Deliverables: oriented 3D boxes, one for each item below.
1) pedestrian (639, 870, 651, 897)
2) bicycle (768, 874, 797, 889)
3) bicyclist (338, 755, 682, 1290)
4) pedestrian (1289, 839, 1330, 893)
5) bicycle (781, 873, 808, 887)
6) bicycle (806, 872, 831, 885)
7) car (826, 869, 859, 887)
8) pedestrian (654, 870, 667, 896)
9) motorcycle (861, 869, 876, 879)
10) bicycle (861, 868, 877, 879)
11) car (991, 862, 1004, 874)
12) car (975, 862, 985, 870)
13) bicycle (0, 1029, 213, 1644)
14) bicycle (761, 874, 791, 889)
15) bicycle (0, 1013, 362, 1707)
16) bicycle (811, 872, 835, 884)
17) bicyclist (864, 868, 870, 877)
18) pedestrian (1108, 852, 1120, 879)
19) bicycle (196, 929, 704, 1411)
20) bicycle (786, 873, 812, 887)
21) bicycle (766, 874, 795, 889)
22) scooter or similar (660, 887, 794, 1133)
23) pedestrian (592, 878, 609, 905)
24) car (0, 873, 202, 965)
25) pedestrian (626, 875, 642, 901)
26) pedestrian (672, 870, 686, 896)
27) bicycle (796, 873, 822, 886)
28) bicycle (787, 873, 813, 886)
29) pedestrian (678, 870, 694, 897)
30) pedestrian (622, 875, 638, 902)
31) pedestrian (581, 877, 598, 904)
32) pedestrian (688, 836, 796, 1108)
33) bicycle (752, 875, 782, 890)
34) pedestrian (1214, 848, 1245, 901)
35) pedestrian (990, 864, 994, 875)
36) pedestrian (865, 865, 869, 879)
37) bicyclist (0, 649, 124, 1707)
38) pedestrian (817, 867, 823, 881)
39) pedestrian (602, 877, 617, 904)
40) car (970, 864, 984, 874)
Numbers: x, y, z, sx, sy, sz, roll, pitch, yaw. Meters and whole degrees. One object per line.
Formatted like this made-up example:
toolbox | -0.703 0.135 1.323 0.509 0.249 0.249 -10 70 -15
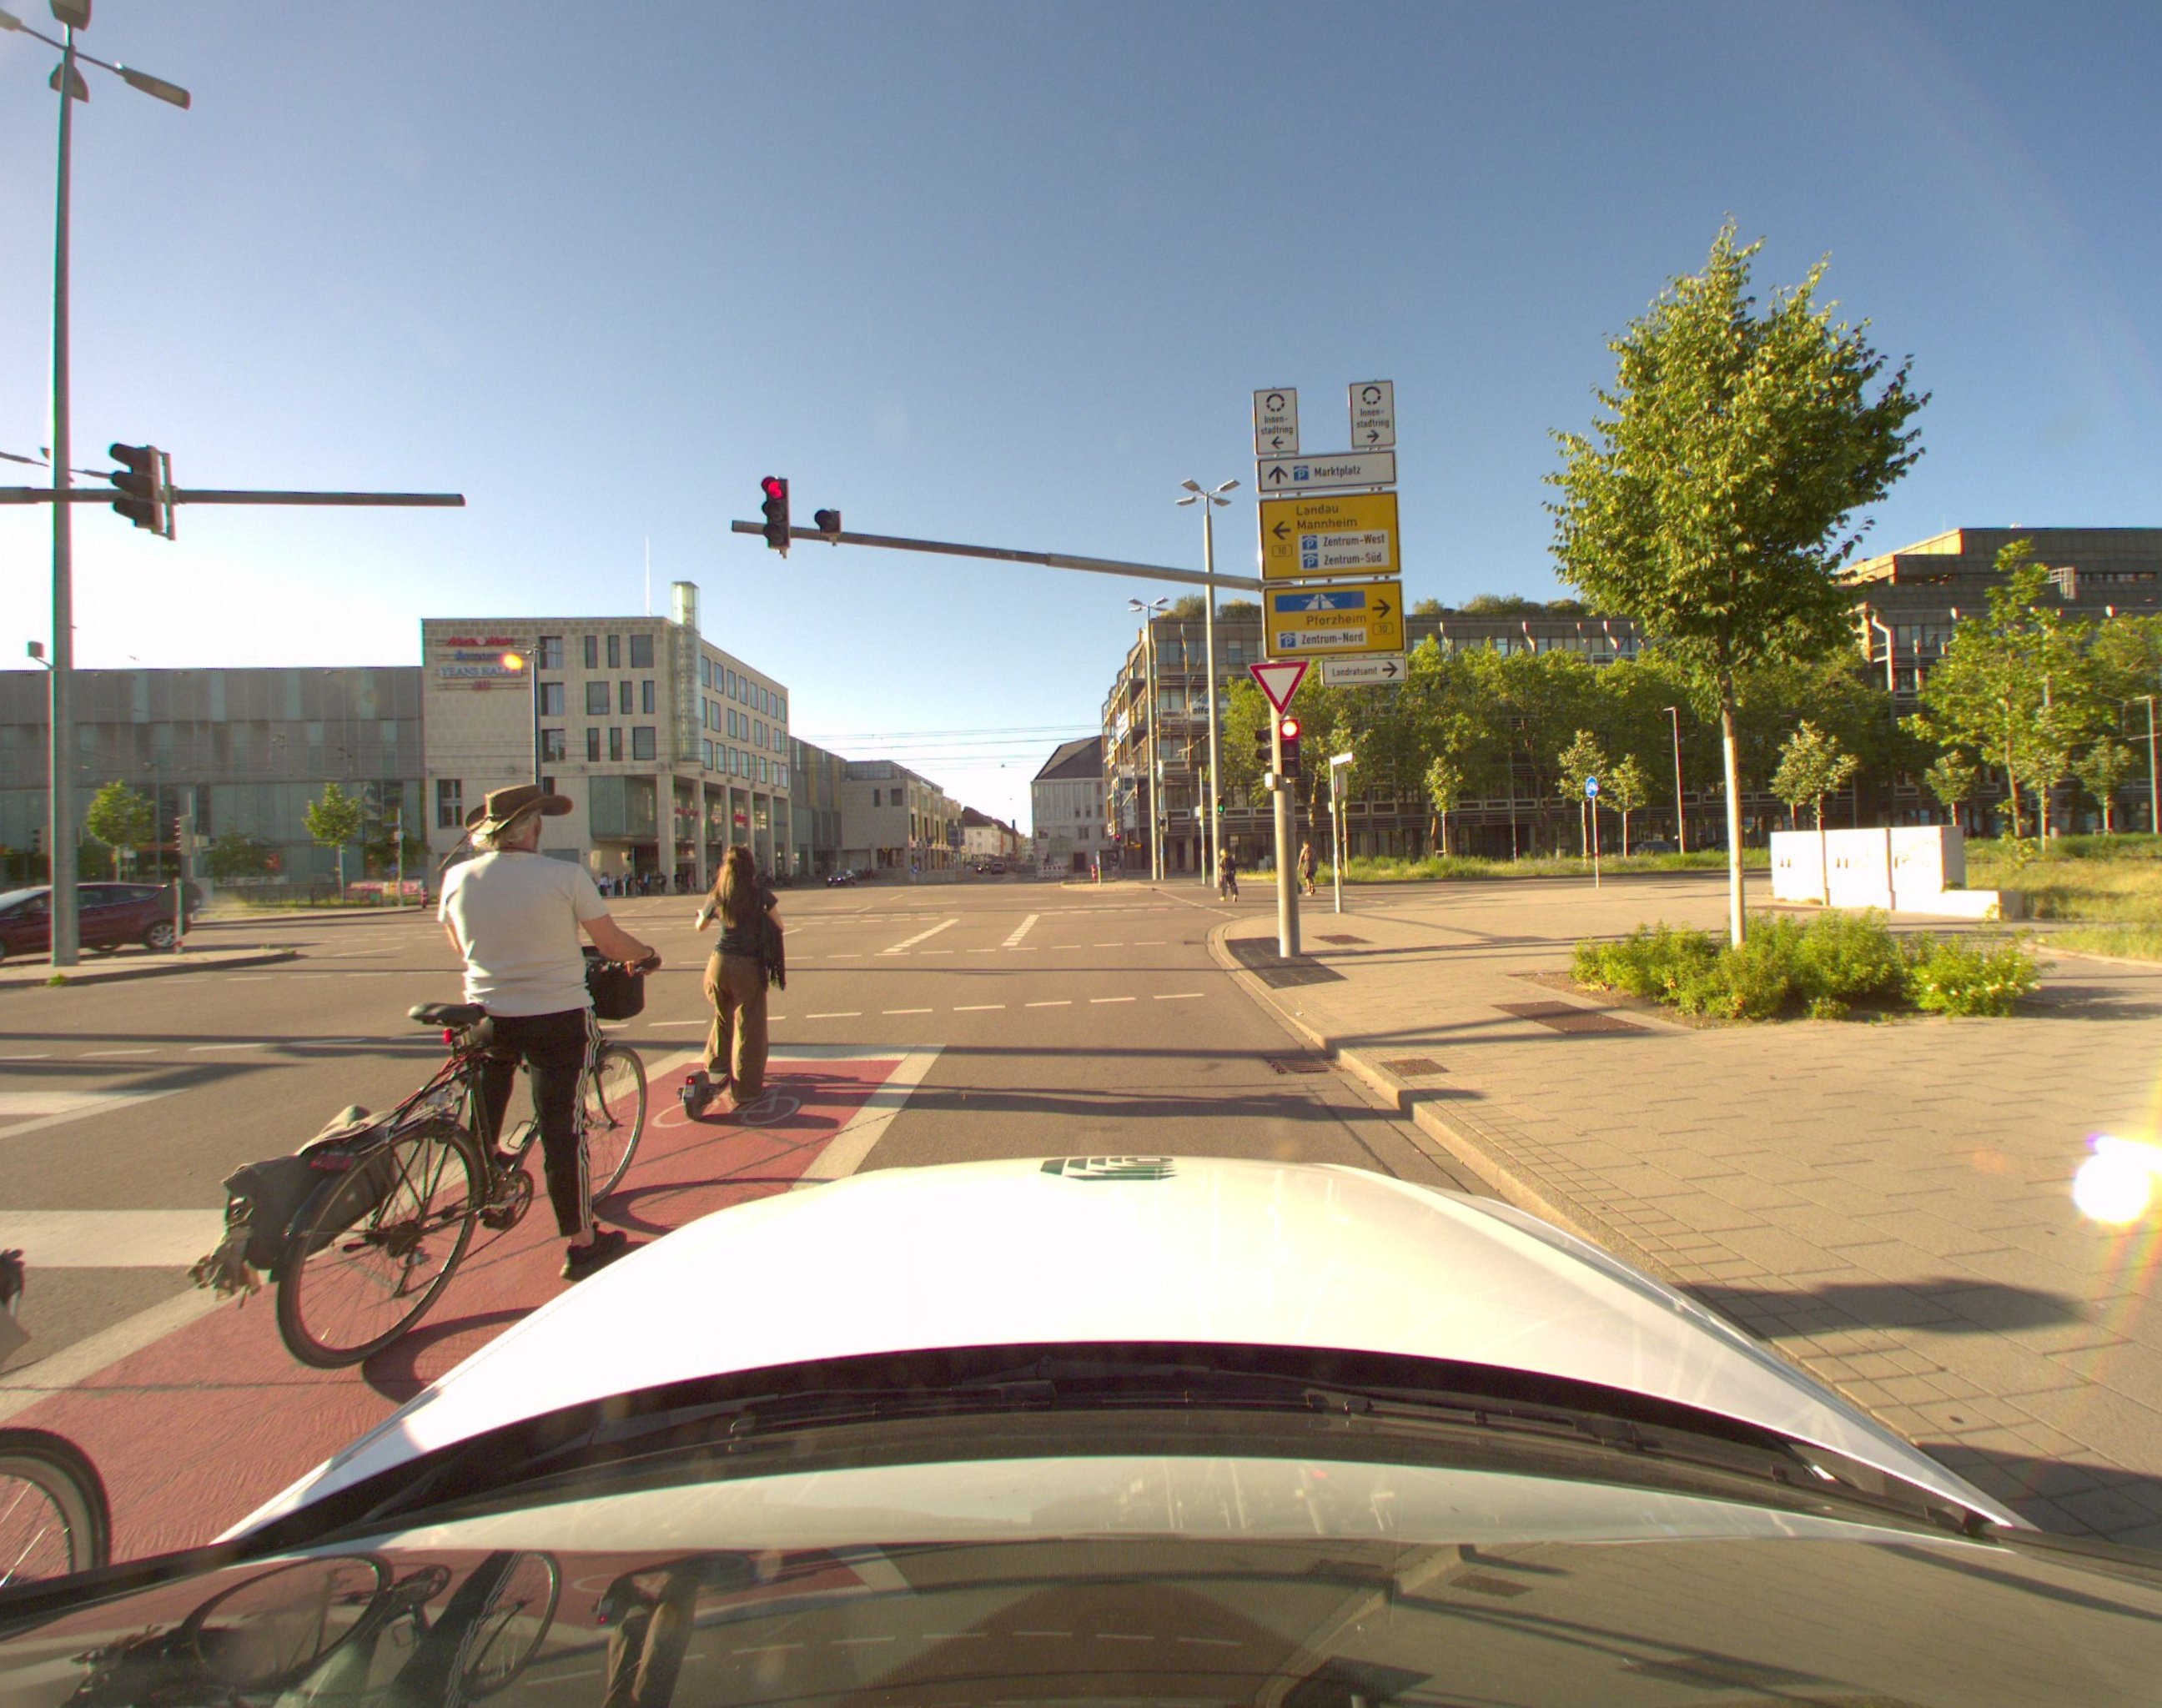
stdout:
pedestrian | -31.206 2.117 58.307 0.718 1.885 0.781 0 -1 -25
bicycle | -26.742 2.440 72.898 2.299 1.222 0.612 -2 -1 -1
bicyclist | -2.055 0.546 3.064 0.658 1.720 0.866 0 -1 1
pedestrian | 7.113 0.363 25.421 0.879 1.665 0.961 0 -1 -12
bicycle | -26.699 2.465 75.965 2.299 1.222 0.612 -2 -1 -1
bicycle | -27.590 2.551 85.583 2.299 1.222 0.612 -2 -1 -1
car | -20.626 2.054 70.510 1.625 1.342 3.999 -4 -1 0
pedestrian | -30.746 2.120 59.568 0.800 1.843 0.856 -2 0 -26
motorcycle | -25.784 2.434 98.741 1.807 1.206 0.509 0 0 -14
bicycle | -25.070 2.292 96.282 1.817 1.206 0.506 0 0 -34
car | -11.141 1.862 108.658 1.735 1.531 3.848 0 -1 -5
car | -21.340 2.596 172.386 1.793 1.657 3.997 0 -1 -2
bicycle | -2.422 0.985 0.983 0.645 1.109 1.970 0 0 -1
bicycle | -26.464 2.419 70.653 2.299 1.222 0.612 -2 -1 -1
bicycle | -1.632 0.909 0.585 0.614 1.218 1.831 0 0 -1
bicycle | -27.426 2.559 86.649 2.299 1.222 0.612 -2 -1 -1
bicyclist | -25.251 2.152 96.150 0.627 1.084 0.506 0 0 -32
pedestrian | 2.323 0.816 57.416 0.785 1.890 0.644 0 -1 1
bicycle | -2.148 0.946 3.141 0.483 1.156 1.832 0 -1 2
bicycle | -27.065 2.486 78.133 2.299 1.222 0.612 -2 -1 -1
bicycle | -26.567 2.431 72.013 2.299 1.222 0.612 -2 -1 -1
scooter or similar | -2.156 0.873 5.078 0.547 1.294 1.188 0 -1 -13
pedestrian | -33.870 2.616 57.375 0.783 1.885 0.716 0 -1 -4
car | -20.167 1.233 15.827 1.644 1.585 3.908 -2 -1 9
pedestrian | -32.514 2.471 59.245 0.783 1.885 0.716 0 -1 -4
pedestrian | -29.107 2.069 58.942 0.801 1.843 0.855 -2 0 -30
bicycle | -27.187 2.513 81.345 2.299 1.222 0.612 -2 -1 -1
bicycle | -27.631 2.506 80.128 2.299 1.222 0.612 -2 -1 -1
pedestrian | -29.323 2.190 60.523 0.883 2.014 0.771 0 -1 -9
pedestrian | -31.948 2.454 57.694 0.783 1.885 0.716 0 -1 -4
pedestrian | -35.180 2.601 58.345 0.783 1.885 0.716 0 -1 -4
pedestrian | -2.162 0.709 5.246 0.549 1.633 0.569 0 -1 -13
bicycle | -26.736 2.411 69.376 2.299 1.222 0.612 -2 -1 -1
pedestrian | 4.292 0.580 23.550 0.785 1.492 0.644 0 -1 1
pedestrian | -12.834 2.244 117.630 0.520 1.679 0.582 0 0 -5
pedestrian | -26.105 2.195 99.357 0.521 1.679 0.580 0 0 -12
bicyclist | -1.633 0.542 0.673 0.639 1.579 0.875 0 0 -1
pedestrian | -30.458 2.341 94.900 0.553 1.679 0.606 0 0 -8
pedestrian | -33.993 2.628 58.722 0.714 1.885 0.786 0 -1 -6
car | -16.786 2.415 131.429 1.793 1.657 3.997 0 -1 -2
